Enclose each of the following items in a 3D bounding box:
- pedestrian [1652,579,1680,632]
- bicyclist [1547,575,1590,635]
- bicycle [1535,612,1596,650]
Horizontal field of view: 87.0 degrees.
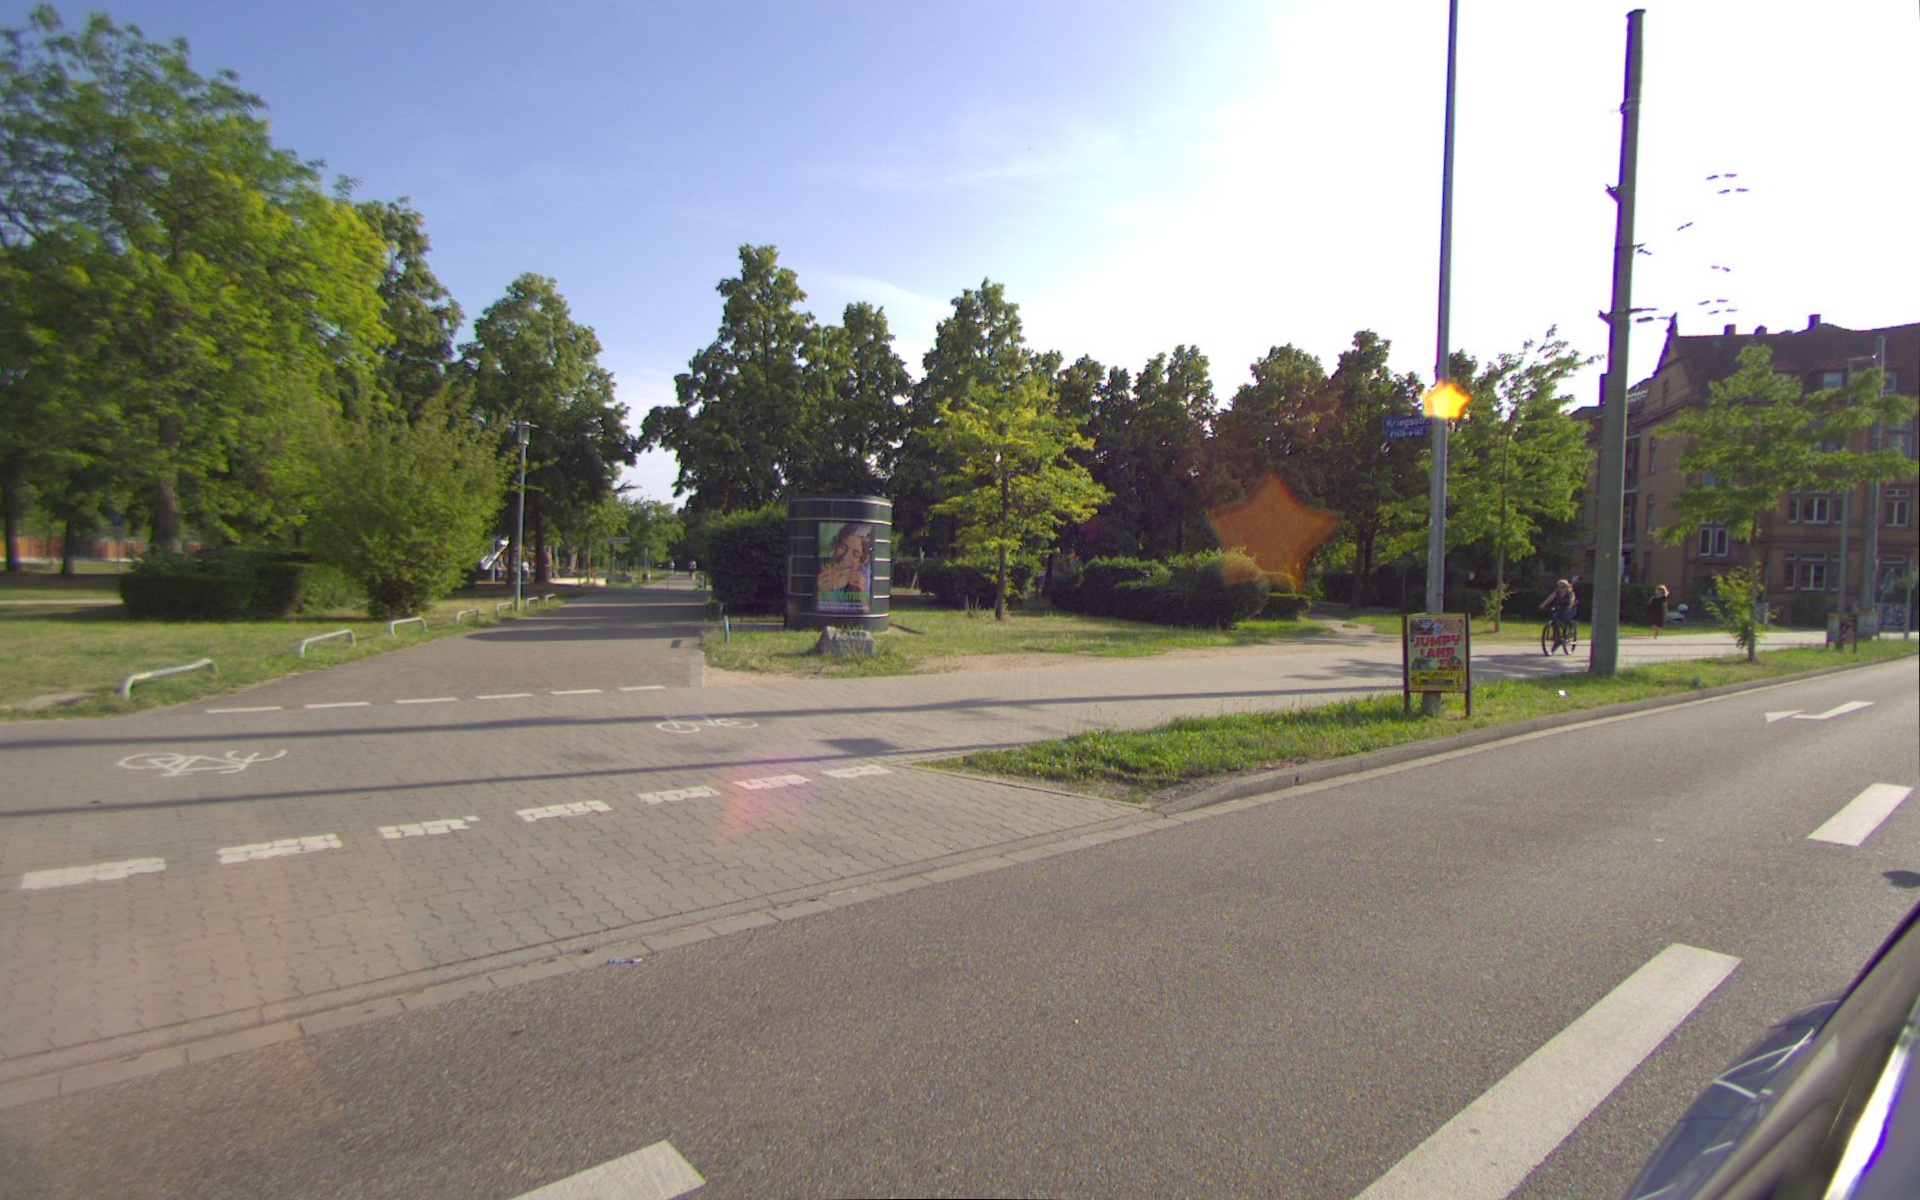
[{"bbox_3d":[22.845,0.164,32.741,0.607,1.706,0.621,1,0,-41],"label":"pedestrian"},{"bbox_3d":[13.532,0.103,22.510,0.854,1.278,0.535,0,2,-41],"label":"bicyclist"},{"bbox_3d":[13.469,0.671,22.487,2.130,0.766,0.496,0,3,-41],"label":"bicycle"}]
